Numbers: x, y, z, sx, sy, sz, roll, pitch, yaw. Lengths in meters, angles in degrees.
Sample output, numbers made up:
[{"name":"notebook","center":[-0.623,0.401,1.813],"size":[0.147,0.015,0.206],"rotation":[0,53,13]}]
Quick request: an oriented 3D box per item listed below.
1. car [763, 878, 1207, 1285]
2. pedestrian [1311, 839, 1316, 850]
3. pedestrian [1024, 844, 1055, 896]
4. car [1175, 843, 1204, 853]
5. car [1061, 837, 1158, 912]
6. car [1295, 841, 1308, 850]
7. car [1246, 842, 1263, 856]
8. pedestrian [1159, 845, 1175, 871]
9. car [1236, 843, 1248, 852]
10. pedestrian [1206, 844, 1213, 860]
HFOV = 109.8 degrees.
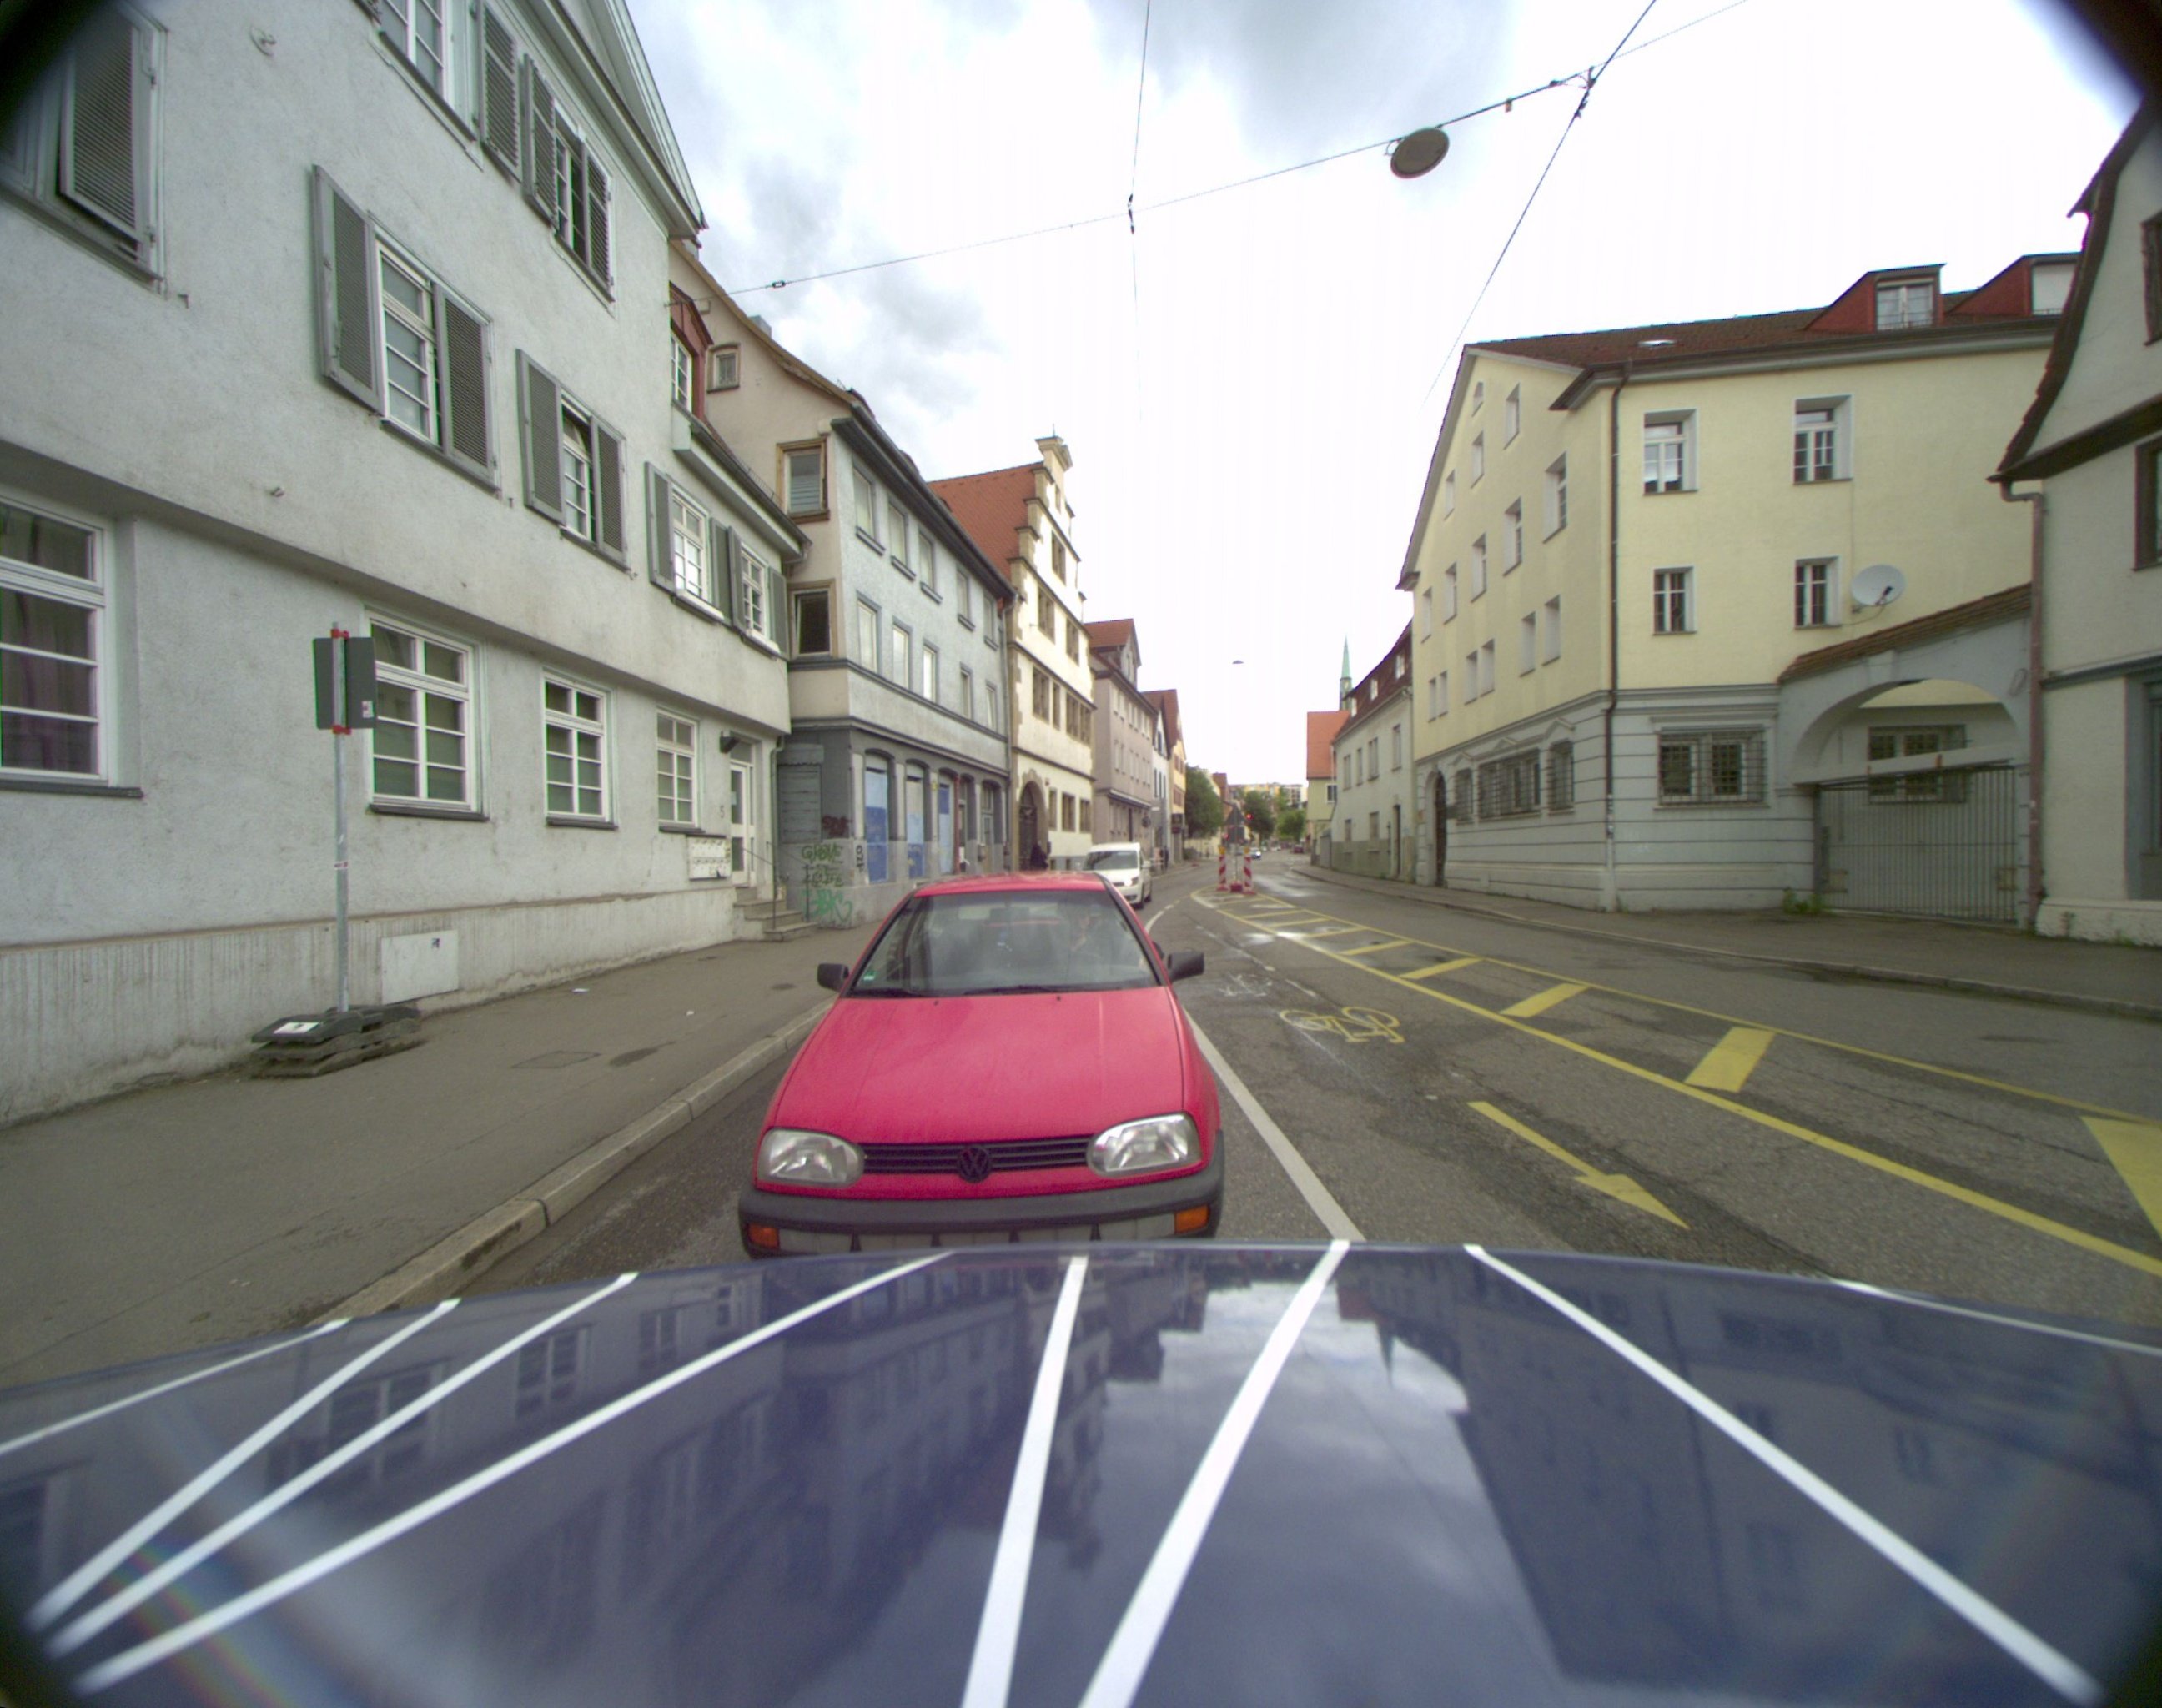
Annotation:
[{"name":"car","center":[-0.340,0.948,4.947],"size":[1.685,1.418,4.021],"rotation":[-1,0,1]},{"name":"pedestrian","center":[42.392,-1.800,138.777],"size":[0.835,2.002,0.846],"rotation":[-1,1,13]},{"name":"pedestrian","center":[-1.371,0.523,25.206],"size":[0.756,1.658,0.810],"rotation":[2,1,15]},{"name":"car","center":[16.302,-0.895,113.629],"size":[3.992,1.455,2.002],"rotation":[-1,2,17]},{"name":"car","center":[0.915,0.458,20.793],"size":[1.997,1.777,4.470],"rotation":[0,2,11]},{"name":"car","center":[42.660,-1.672,146.799],"size":[2.210,1.668,4.502],"rotation":[0,1,14]},{"name":"car","center":[22.030,-0.623,96.393],"size":[1.996,1.669,4.004],"rotation":[-1,1,15]},{"name":"pedestrian","center":[5.570,0.271,49.282],"size":[0.833,1.646,0.945],"rotation":[-1,0,15]},{"name":"car","center":[28.326,-1.130,133.622],"size":[2.031,1.546,4.004],"rotation":[0,1,14]},{"name":"pedestrian","center":[18.388,-0.253,108.761],"size":[0.901,2.297,0.821],"rotation":[-1,0,13]}]
